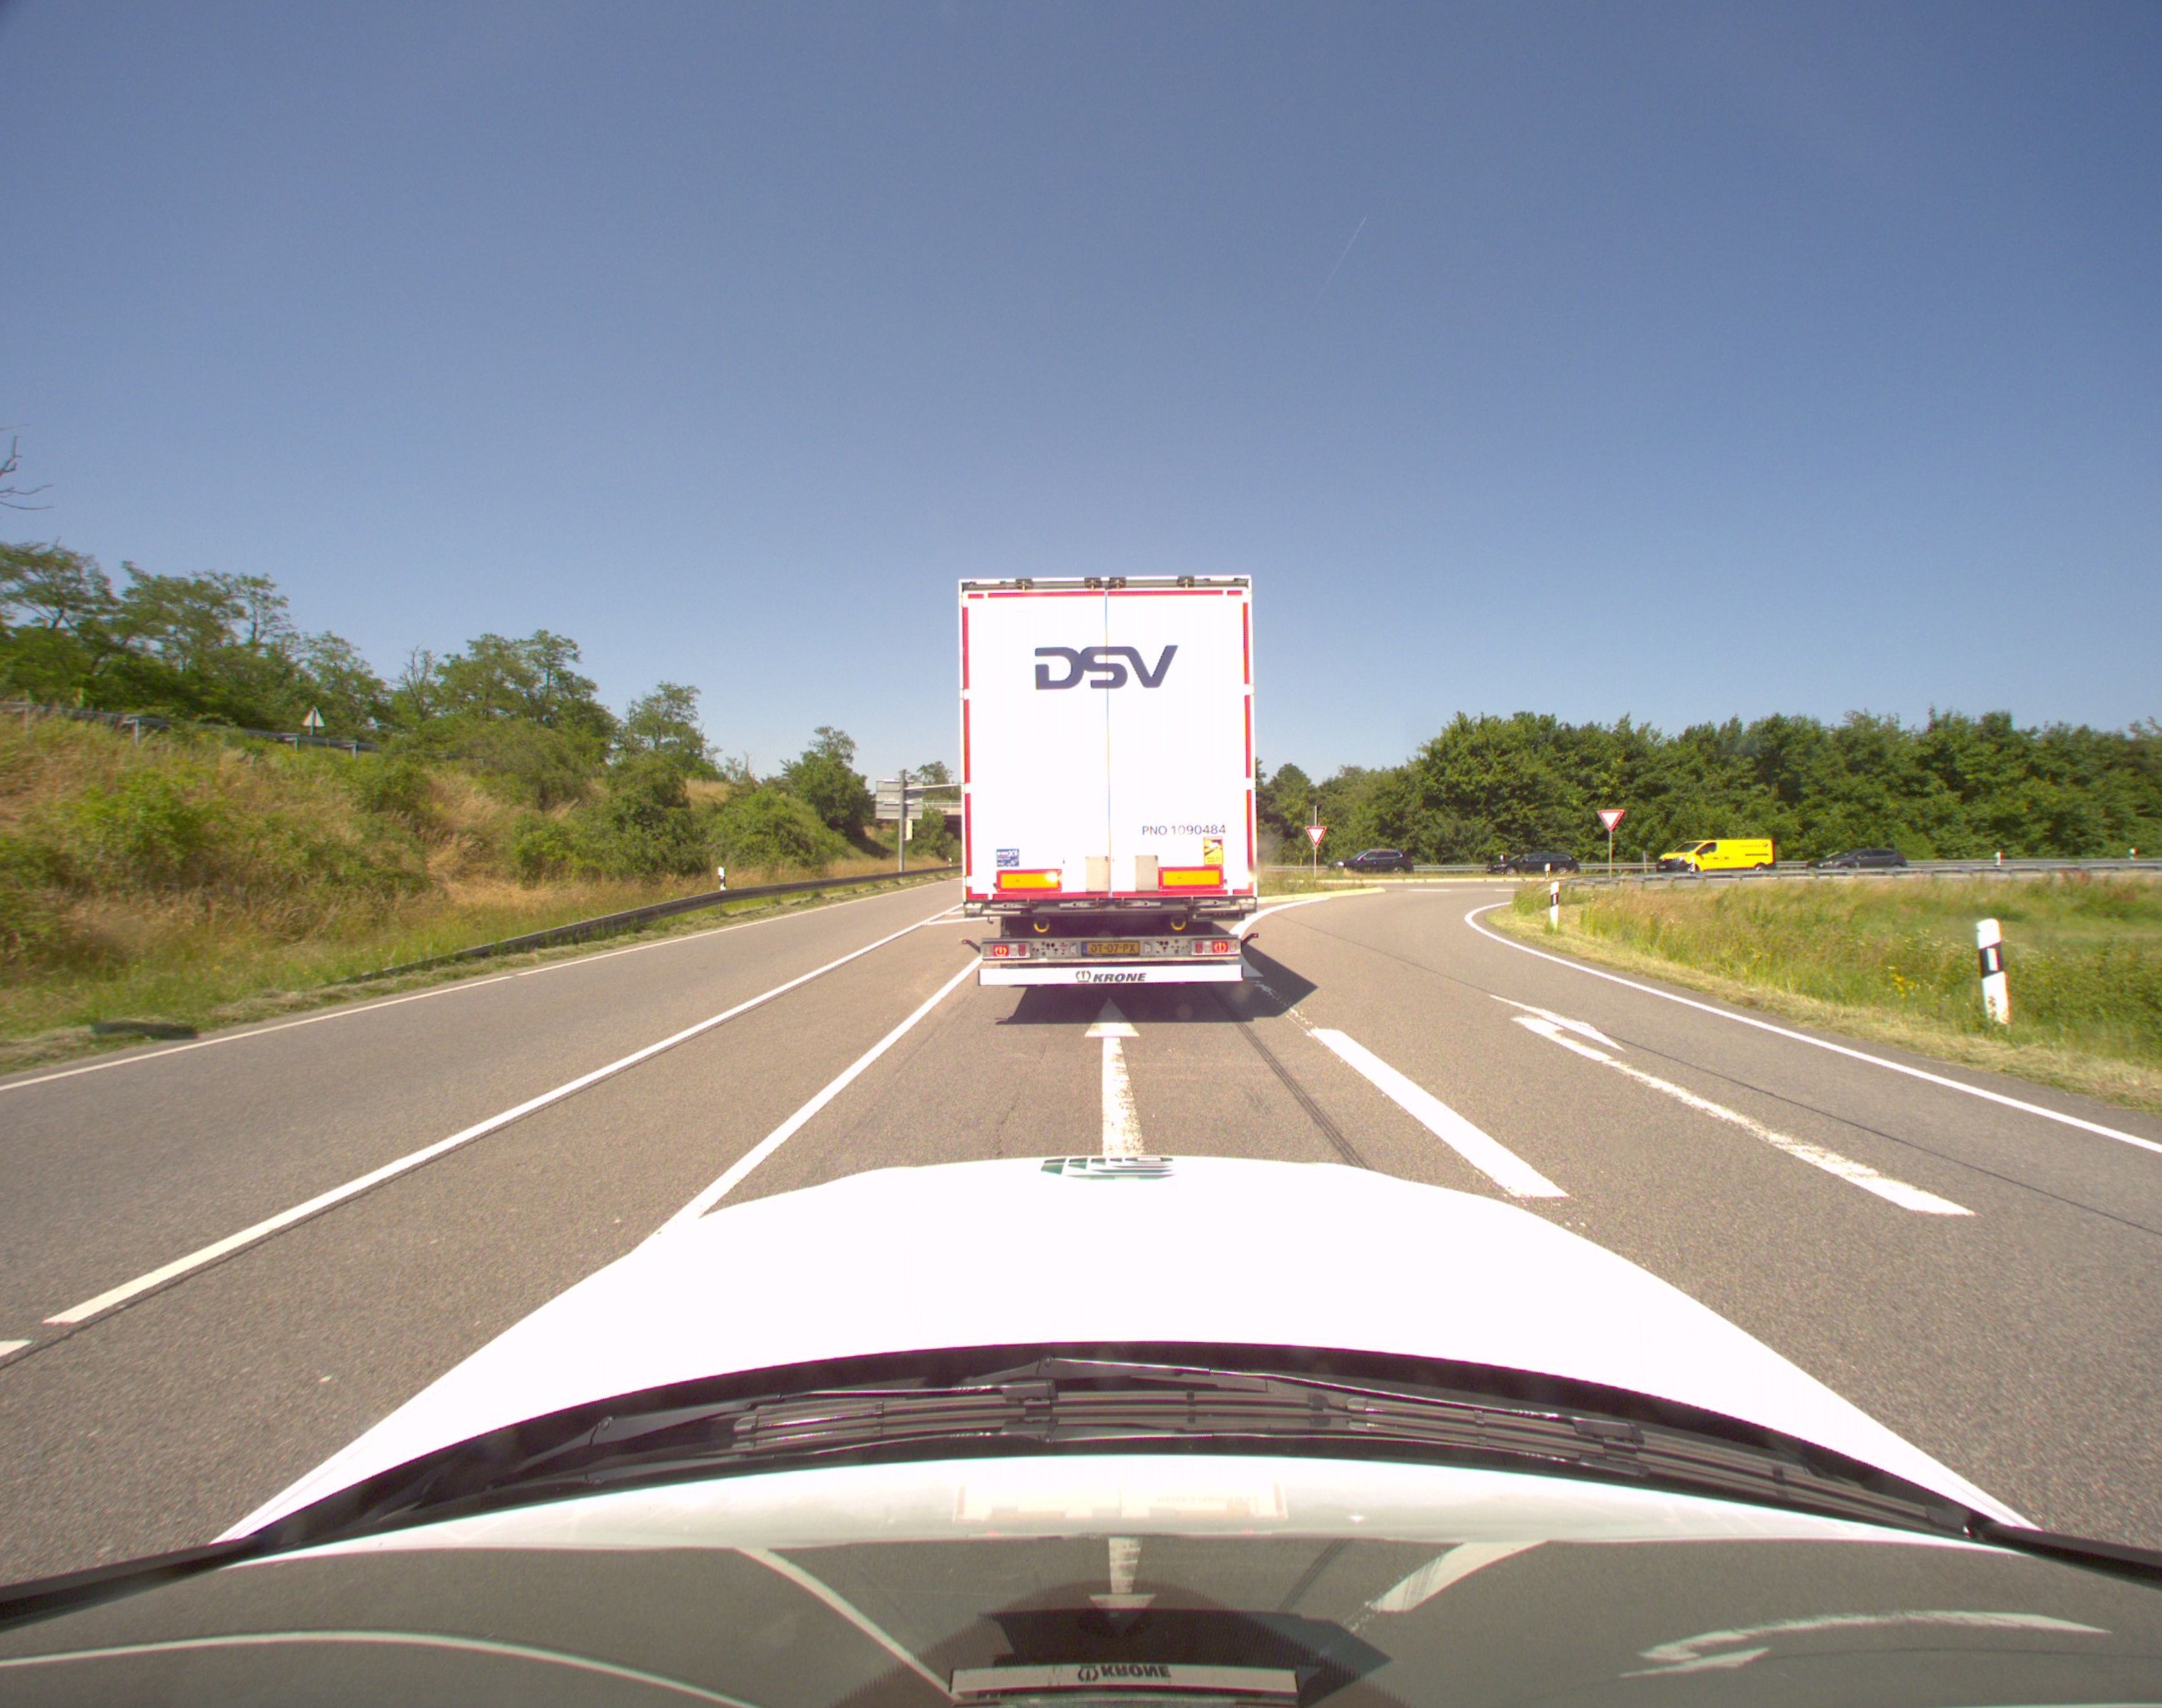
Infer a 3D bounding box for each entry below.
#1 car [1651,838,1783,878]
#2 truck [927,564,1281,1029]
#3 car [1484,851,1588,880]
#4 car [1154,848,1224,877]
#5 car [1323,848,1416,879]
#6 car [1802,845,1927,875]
[{"bbox_3d":[33.525,0.223,43.025,5.301,2.014,2.001,-1,-1,2],"label":"car"},{"bbox_3d":[0.301,-0.472,11.900,2.977,3.942,9.877,-1,0,1],"label":"truck"},{"bbox_3d":[25.089,0.652,45.077,4.655,1.514,1.858,-1,-1,8],"label":"car"},{"bbox_3d":[6.331,0.511,47.839,3.964,1.640,1.845,-1,-1,7],"label":"car"},{"bbox_3d":[15.595,0.498,44.202,4.466,1.598,1.769,-1,-1,4],"label":"car"},{"bbox_3d":[41.193,0.333,42.882,4.662,1.514,1.855,-1,-1,3],"label":"car"}]
